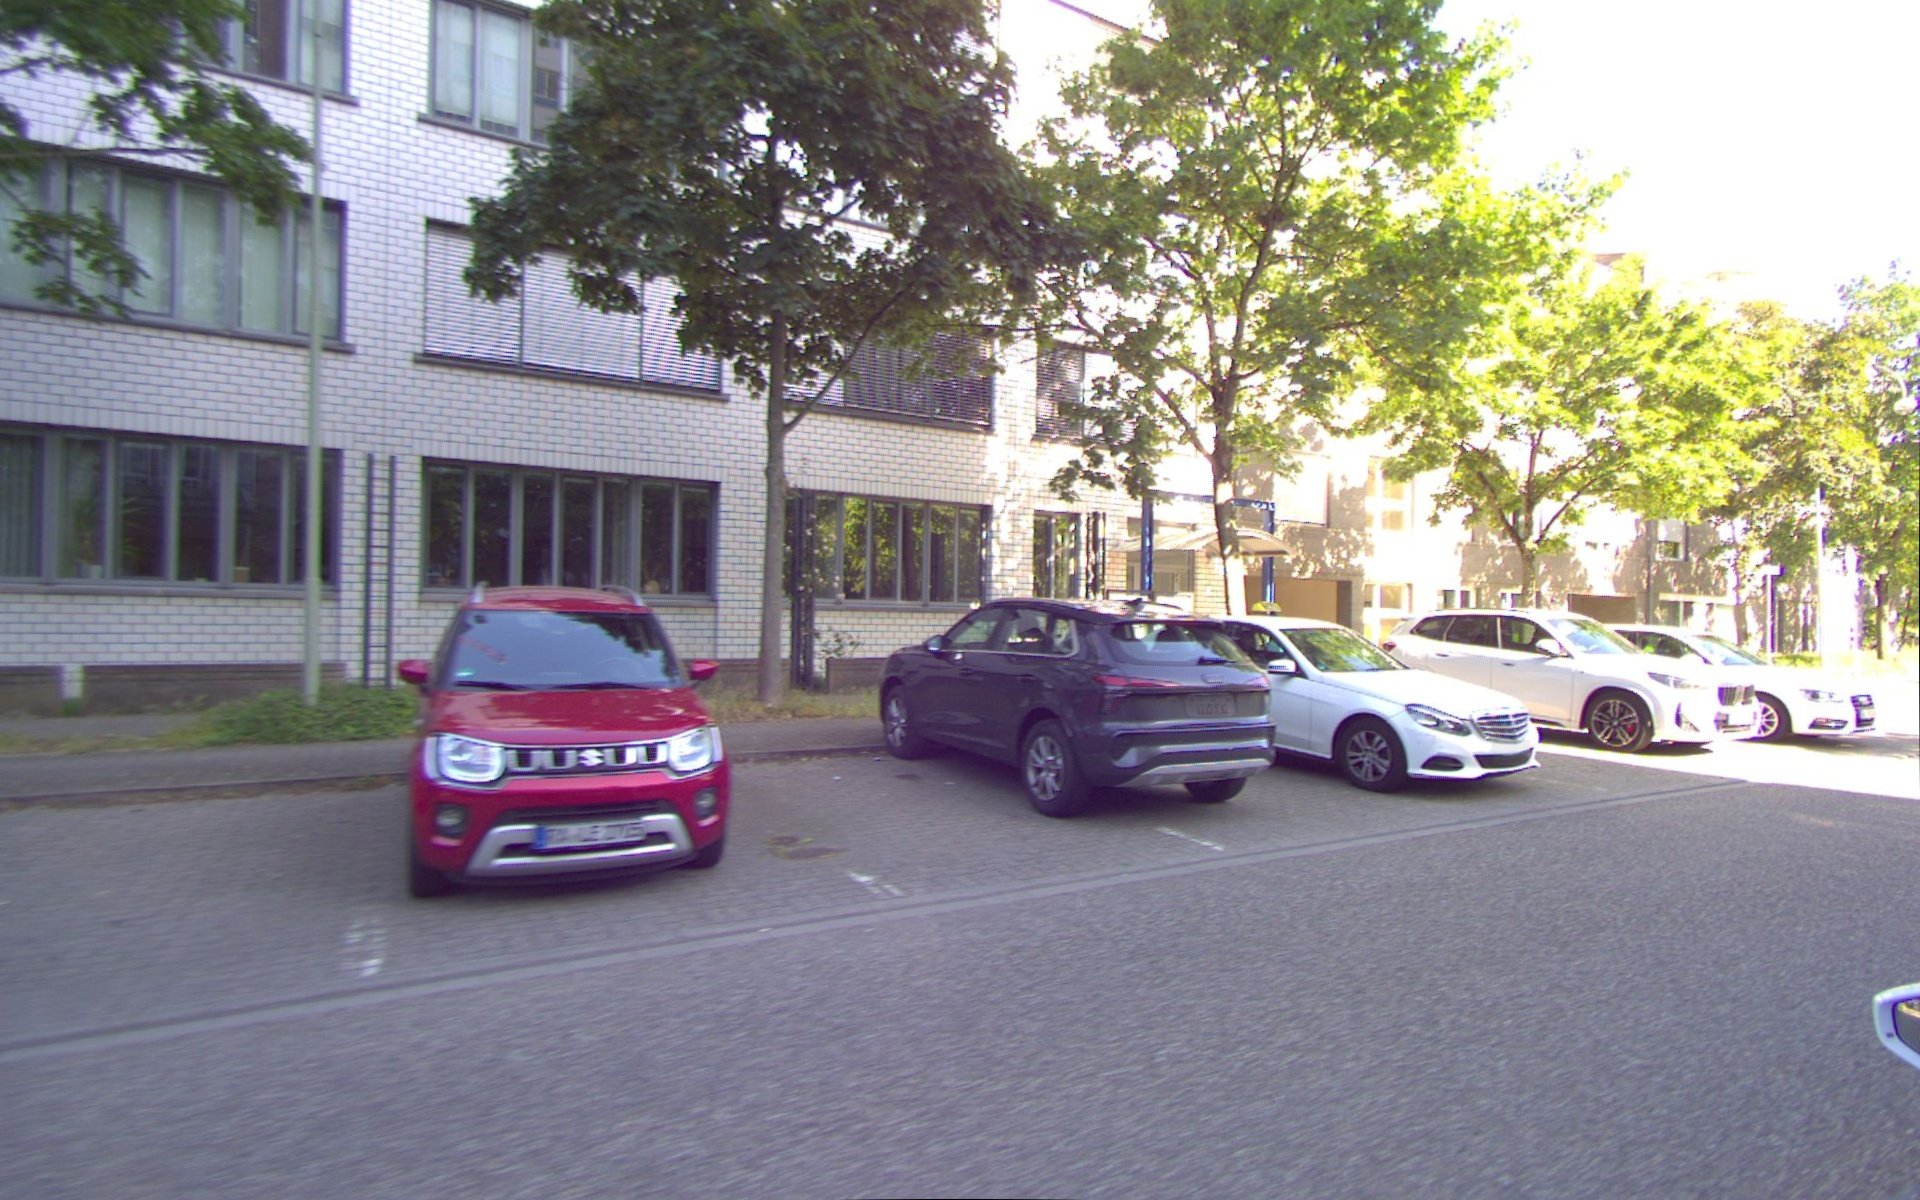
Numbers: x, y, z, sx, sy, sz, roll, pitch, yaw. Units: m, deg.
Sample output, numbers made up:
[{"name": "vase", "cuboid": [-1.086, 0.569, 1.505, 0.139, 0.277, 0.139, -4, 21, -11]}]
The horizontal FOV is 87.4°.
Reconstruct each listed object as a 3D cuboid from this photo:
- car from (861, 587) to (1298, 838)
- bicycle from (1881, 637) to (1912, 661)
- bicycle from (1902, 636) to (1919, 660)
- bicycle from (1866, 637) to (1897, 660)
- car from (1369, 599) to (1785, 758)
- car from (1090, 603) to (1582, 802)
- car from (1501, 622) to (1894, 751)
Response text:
[{"name": "car", "cuboid": [0.753, 0.735, 8.831, 1.781, 1.642, 4.095, 1, 0, -28]}, {"name": "bicycle", "cuboid": [43.373, 2.259, 46.526, 2.167, 1.061, 0.435, 2, 0, -30]}, {"name": "bicycle", "cuboid": [43.539, 2.193, 45.676, 2.167, 1.061, 0.435, 2, 0, -30]}, {"name": "bicycle", "cuboid": [43.114, 2.266, 46.994, 2.167, 1.061, 0.435, 2, 0, -30]}, {"name": "car", "cuboid": [7.790, 0.876, 13.137, 1.929, 1.623, 4.206, 2, 0, -29]}, {"name": "car", "cuboid": [3.561, 0.840, 10.377, 1.921, 1.471, 4.481, 1, 1, -34]}, {"name": "car", "cuboid": [10.372, 1.106, 14.486, 1.779, 1.499, 4.237, 1, -1, -30]}]
